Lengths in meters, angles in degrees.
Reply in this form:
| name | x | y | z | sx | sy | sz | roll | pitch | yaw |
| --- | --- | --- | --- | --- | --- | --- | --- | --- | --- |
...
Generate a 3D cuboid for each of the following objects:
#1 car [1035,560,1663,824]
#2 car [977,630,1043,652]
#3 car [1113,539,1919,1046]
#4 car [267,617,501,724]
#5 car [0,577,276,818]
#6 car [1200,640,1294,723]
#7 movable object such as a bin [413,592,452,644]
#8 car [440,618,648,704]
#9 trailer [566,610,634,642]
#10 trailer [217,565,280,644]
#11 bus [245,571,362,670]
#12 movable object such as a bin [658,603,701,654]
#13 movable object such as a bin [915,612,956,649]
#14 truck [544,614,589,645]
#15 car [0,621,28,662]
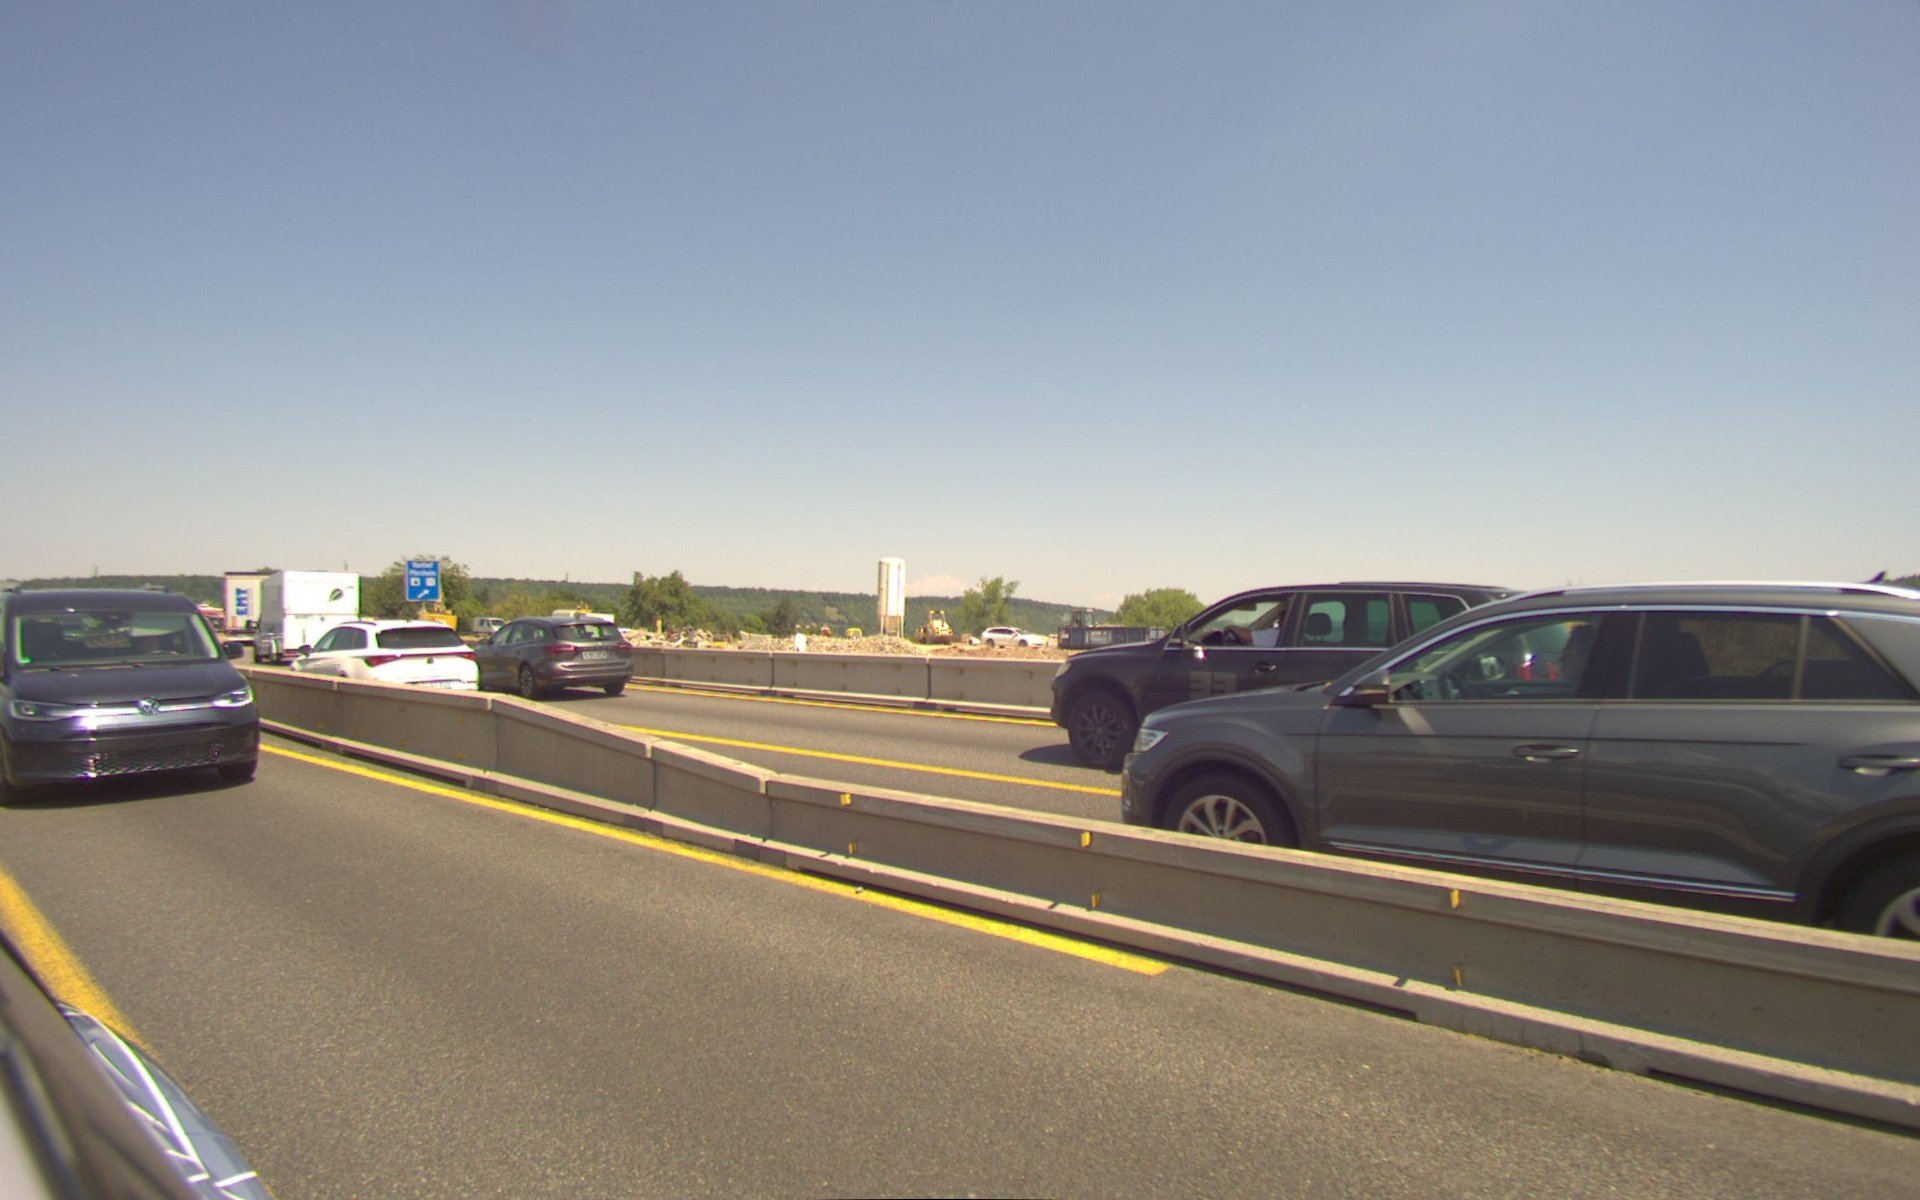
| name | x | y | z | sx | sy | sz | roll | pitch | yaw |
| --- | --- | --- | --- | --- | --- | --- | --- | --- | --- |
| car | 3.110 | 0.642 | 8.771 | 4.714 | 1.692 | 1.903 | -2 | -1 | 41 |
| car | 3.426 | 2.807 | 69.464 | 4.440 | 1.420 | 1.596 | -1 | -2 | 38 |
| car | 2.882 | 0.636 | 4.410 | 4.131 | 1.591 | 1.677 | -2 | -2 | 40 |
| car | -9.264 | 1.025 | 16.103 | 4.632 | 1.466 | 1.797 | -2 | -2 | 41 |
| car | -8.361 | 0.766 | 9.760 | 4.602 | 1.803 | 1.900 | -1 | -1 | 42 |
| car | 5.858 | 1.576 | 20.438 | 1.537 | 1.466 | 3.178 | -1 | -2 | 21 |
| movable object such as a bin | -47.055 | 1.652 | 90.345 | 2.883 | 4.362 | 9.356 | 1 | -2 | -27 |
| car | -7.956 | 1.090 | 19.136 | 4.646 | 1.434 | 1.802 | -2 | -2 | 42 |
| trailer | -35.051 | 2.492 | 98.650 | 2.880 | 3.020 | 5.509 | -1 | -2 | 38 |
| trailer | -42.026 | 0.410 | 60.054 | 2.723 | 4.146 | 14.013 | 1 | -2 | -34 |
| bus | -23.230 | 0.759 | 35.657 | 2.321 | 3.149 | 7.237 | 1 | -2 | -42 |
| movable object such as a bin | -18.336 | 1.859 | 66.144 | 1.965 | 3.165 | 4.291 | 1 | -2 | -26 |
| movable object such as a bin | -2.173 | 2.642 | 88.427 | 1.965 | 3.165 | 4.500 | 1 | -2 | -26 |
| truck | -39.327 | 2.940 | 101.126 | 4.260 | 3.066 | 2.318 | -1 | -2 | 39 |
| car | -44.020 | 1.889 | 46.057 | 3.995 | 1.800 | 1.777 | -1 | -2 | 39 |
